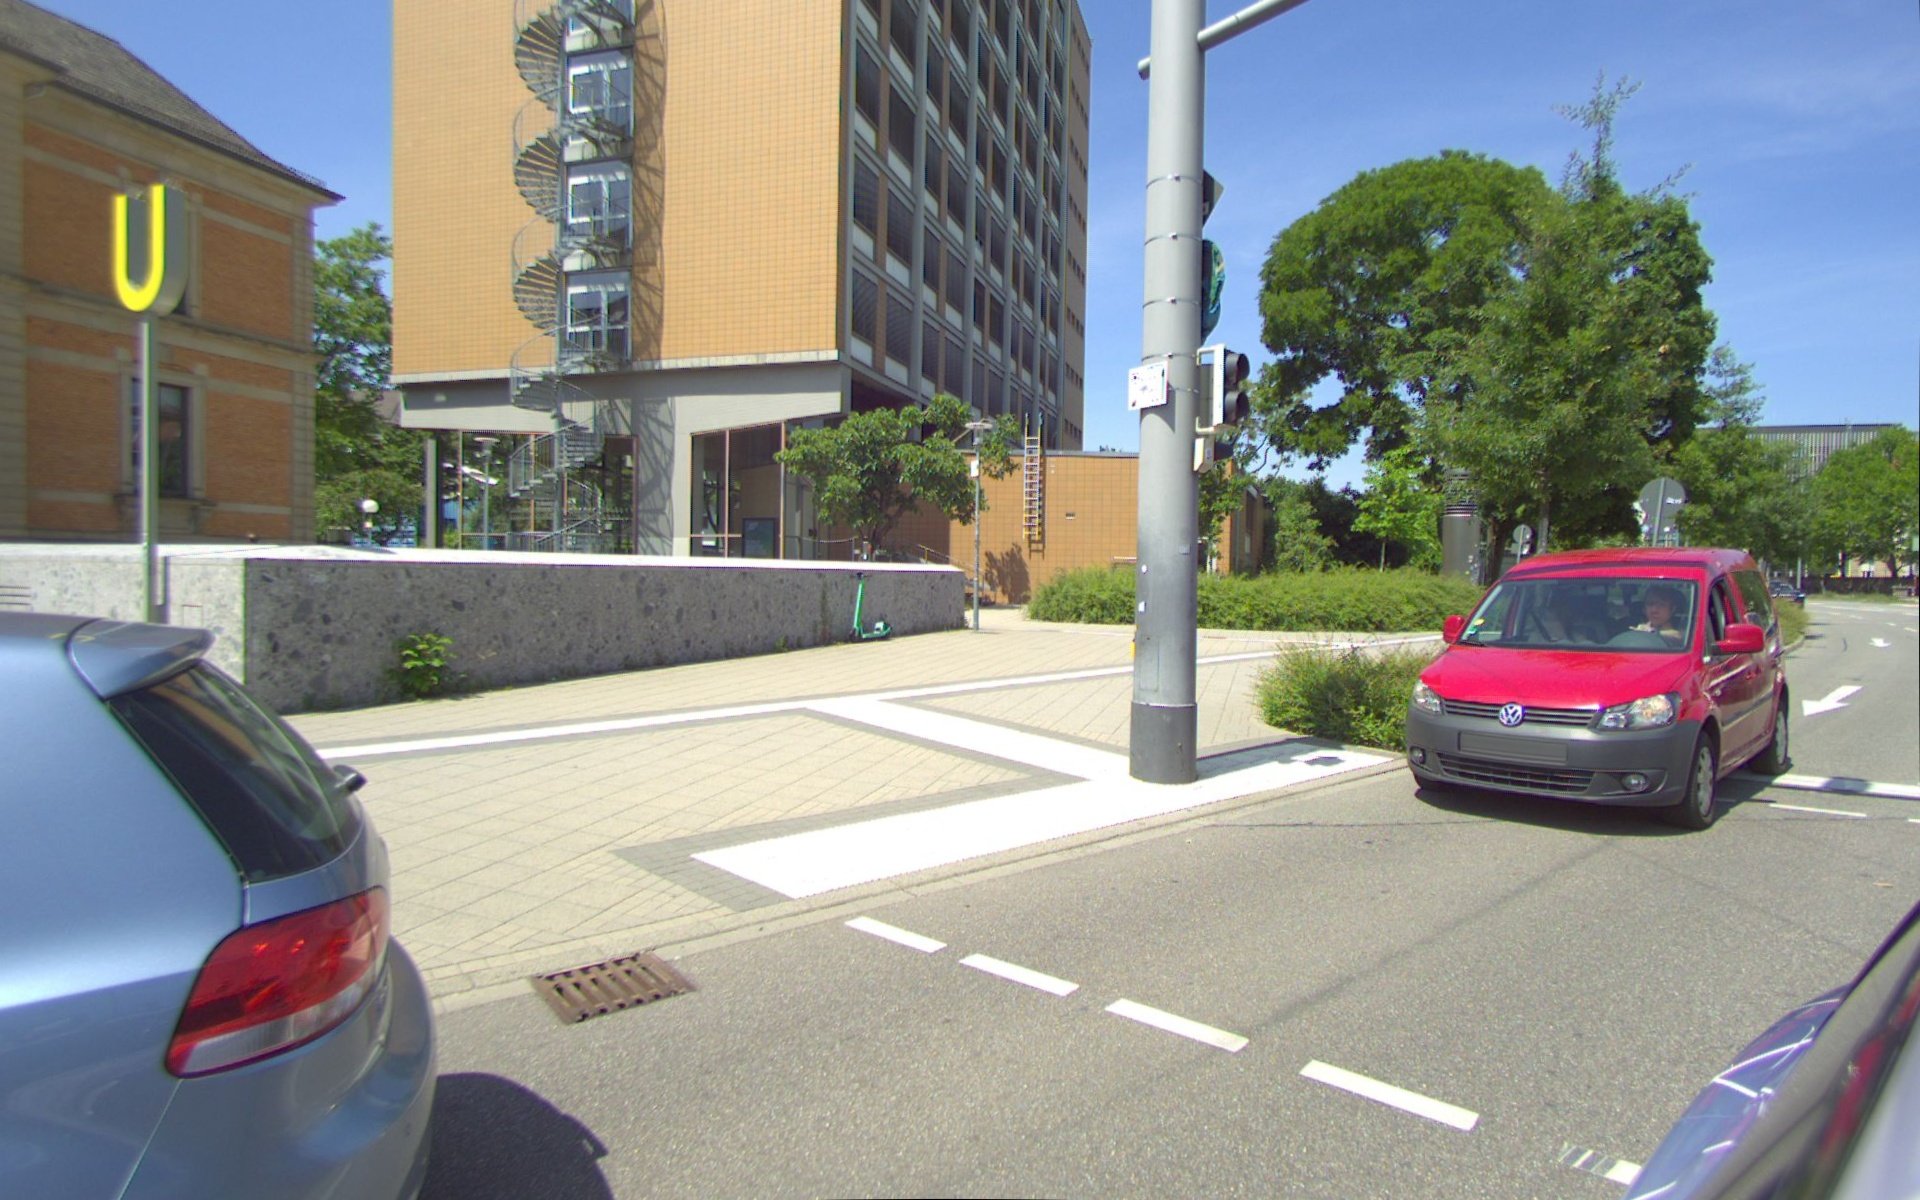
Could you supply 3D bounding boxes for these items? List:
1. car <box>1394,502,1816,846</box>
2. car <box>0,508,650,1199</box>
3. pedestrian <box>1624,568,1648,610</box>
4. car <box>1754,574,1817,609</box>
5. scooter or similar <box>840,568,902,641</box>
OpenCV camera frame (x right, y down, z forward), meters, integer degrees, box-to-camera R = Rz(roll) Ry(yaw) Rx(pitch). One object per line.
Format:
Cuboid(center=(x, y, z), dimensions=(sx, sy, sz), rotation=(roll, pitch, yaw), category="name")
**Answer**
Cuboid(center=(5.083, 0.367, 7.677), dimensions=(4.469, 1.882, 1.653), rotation=(-1, 1, -43), category="car")
Cuboid(center=(-2.609, 0.631, 1.271), dimensions=(3.930, 1.477, 1.655), rotation=(-1, 0, -38), category="car")
Cuboid(center=(30.014, -0.492, 44.929), dimensions=(0.603, 1.820, 0.728), rotation=(0, 1, -42), category="pedestrian")
Cuboid(center=(49.545, -0.536, 60.821), dimensions=(1.980, 2.038, 3.965), rotation=(1, 1, 26), category="car")
Cuboid(center=(-1.491, 0.051, 17.165), dimensions=(0.454, 1.185, 1.239), rotation=(1, 1, 27), category="scooter or similar")
